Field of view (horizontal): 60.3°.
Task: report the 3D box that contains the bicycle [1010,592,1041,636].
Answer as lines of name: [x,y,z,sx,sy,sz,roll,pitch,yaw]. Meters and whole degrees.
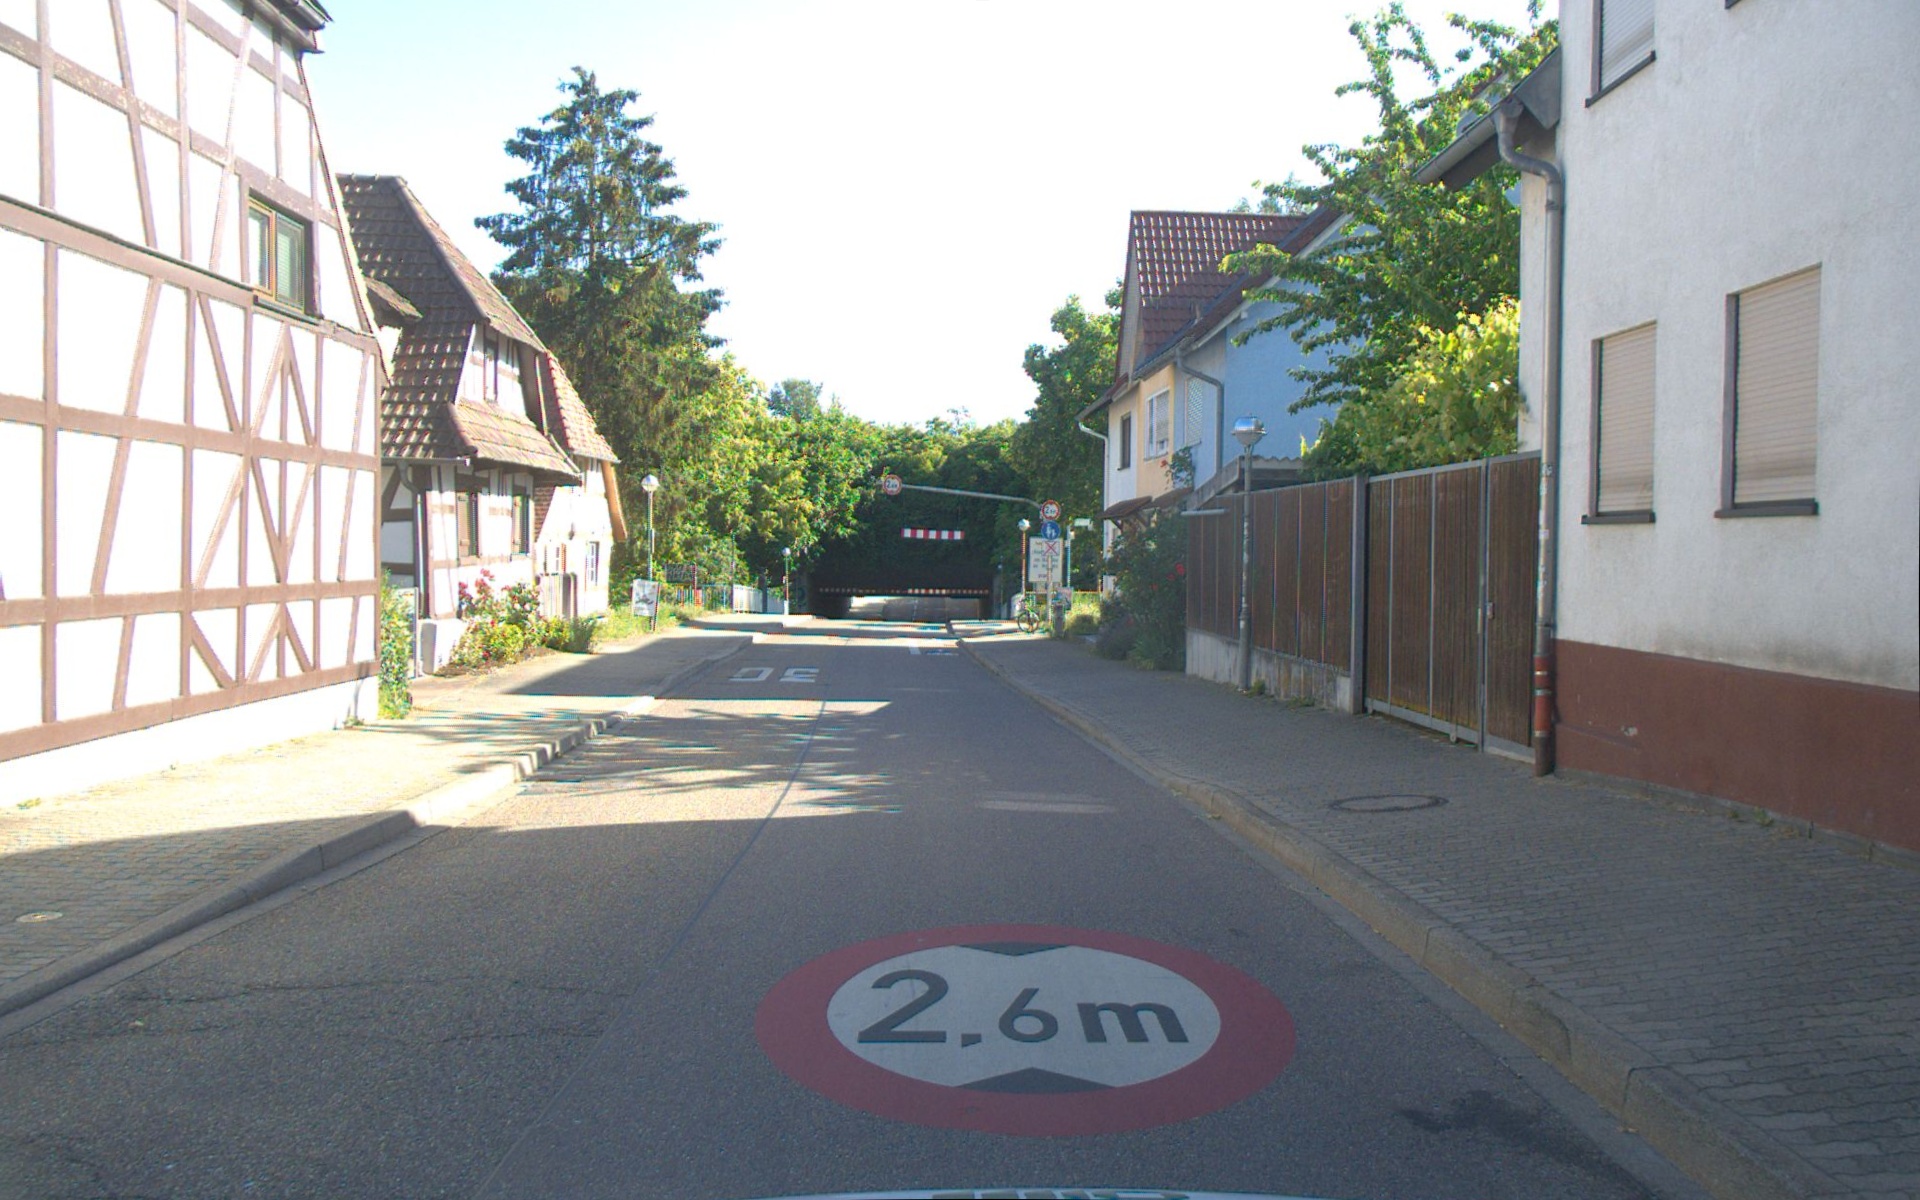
bicycle: [1.917,0.389,48.431,0.675,1.177,1.539,-5,2,-3]
